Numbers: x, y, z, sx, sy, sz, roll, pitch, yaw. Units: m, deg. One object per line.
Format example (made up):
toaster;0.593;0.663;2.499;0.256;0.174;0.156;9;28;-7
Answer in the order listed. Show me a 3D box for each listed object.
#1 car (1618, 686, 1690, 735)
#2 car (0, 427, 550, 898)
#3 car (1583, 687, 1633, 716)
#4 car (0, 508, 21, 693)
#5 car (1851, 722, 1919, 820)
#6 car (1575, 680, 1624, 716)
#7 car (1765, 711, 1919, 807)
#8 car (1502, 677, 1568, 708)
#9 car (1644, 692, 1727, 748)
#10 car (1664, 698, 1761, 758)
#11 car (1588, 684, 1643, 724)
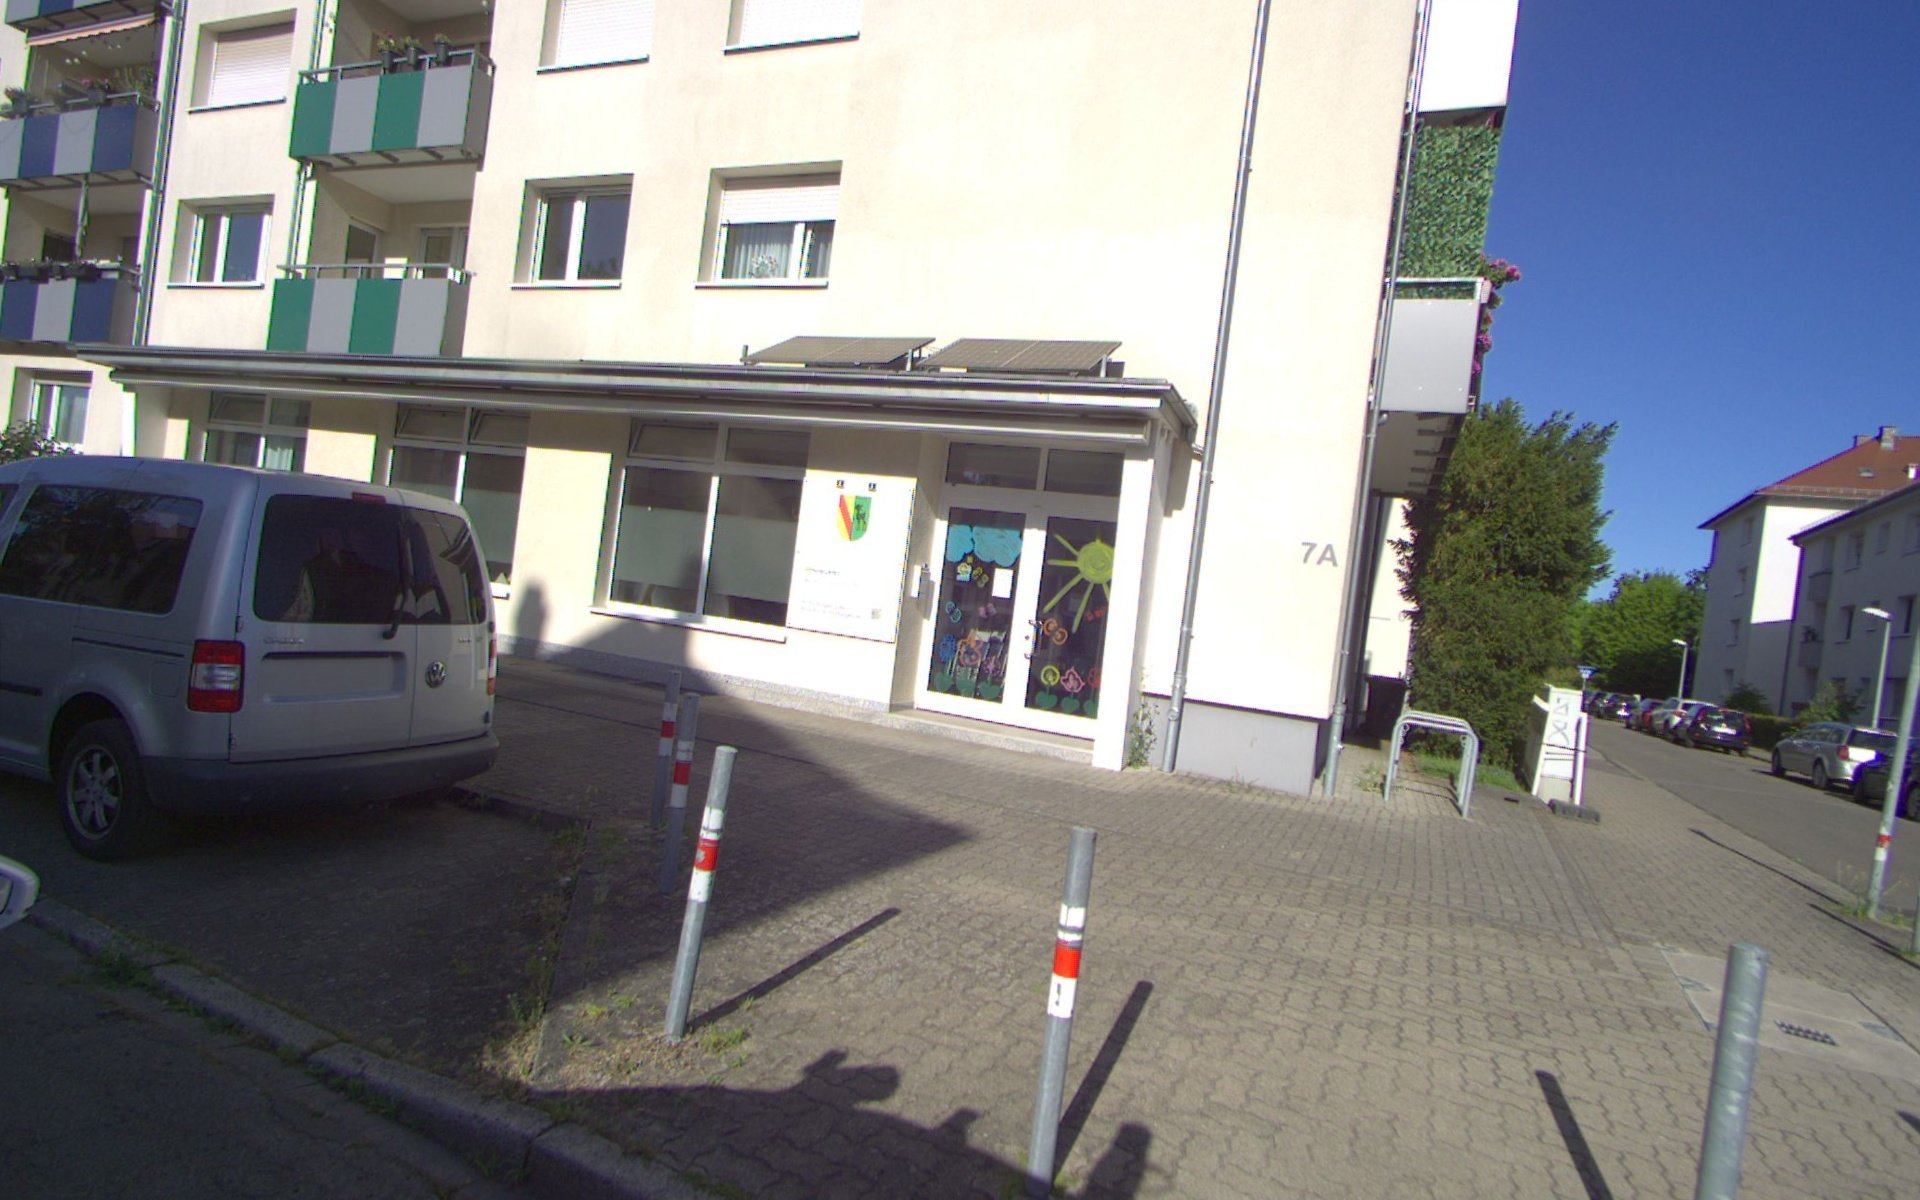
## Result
car;29.392;4.634;42.714;1.650;1.593;4.240;10;1;26
car;-4.581;0.081;5.661;4.056;1.848;1.750;7;3;23
car;48.954;7.640;76.058;2.889;1.650;1.390;7;2;26
car;-9.742;-0.289;7.791;4.461;1.424;1.683;7;0;20
car;17.202;3.090;17.371;1.650;1.473;3.482;10;1;26
car;37.740;5.768;59.445;1.709;1.715;4.240;10;1;26
car;19.504;3.416;22.209;1.650;1.473;4.076;10;1;26
car;44.955;7.209;78.713;4.227;1.695;1.996;8;2;28
car;27.201;4.465;37.860;1.650;1.593;4.076;10;1;26
car;25.082;4.230;33.656;1.650;1.473;4.076;10;1;26
car;35.069;5.513;53.897;1.709;1.715;4.240;10;1;26
